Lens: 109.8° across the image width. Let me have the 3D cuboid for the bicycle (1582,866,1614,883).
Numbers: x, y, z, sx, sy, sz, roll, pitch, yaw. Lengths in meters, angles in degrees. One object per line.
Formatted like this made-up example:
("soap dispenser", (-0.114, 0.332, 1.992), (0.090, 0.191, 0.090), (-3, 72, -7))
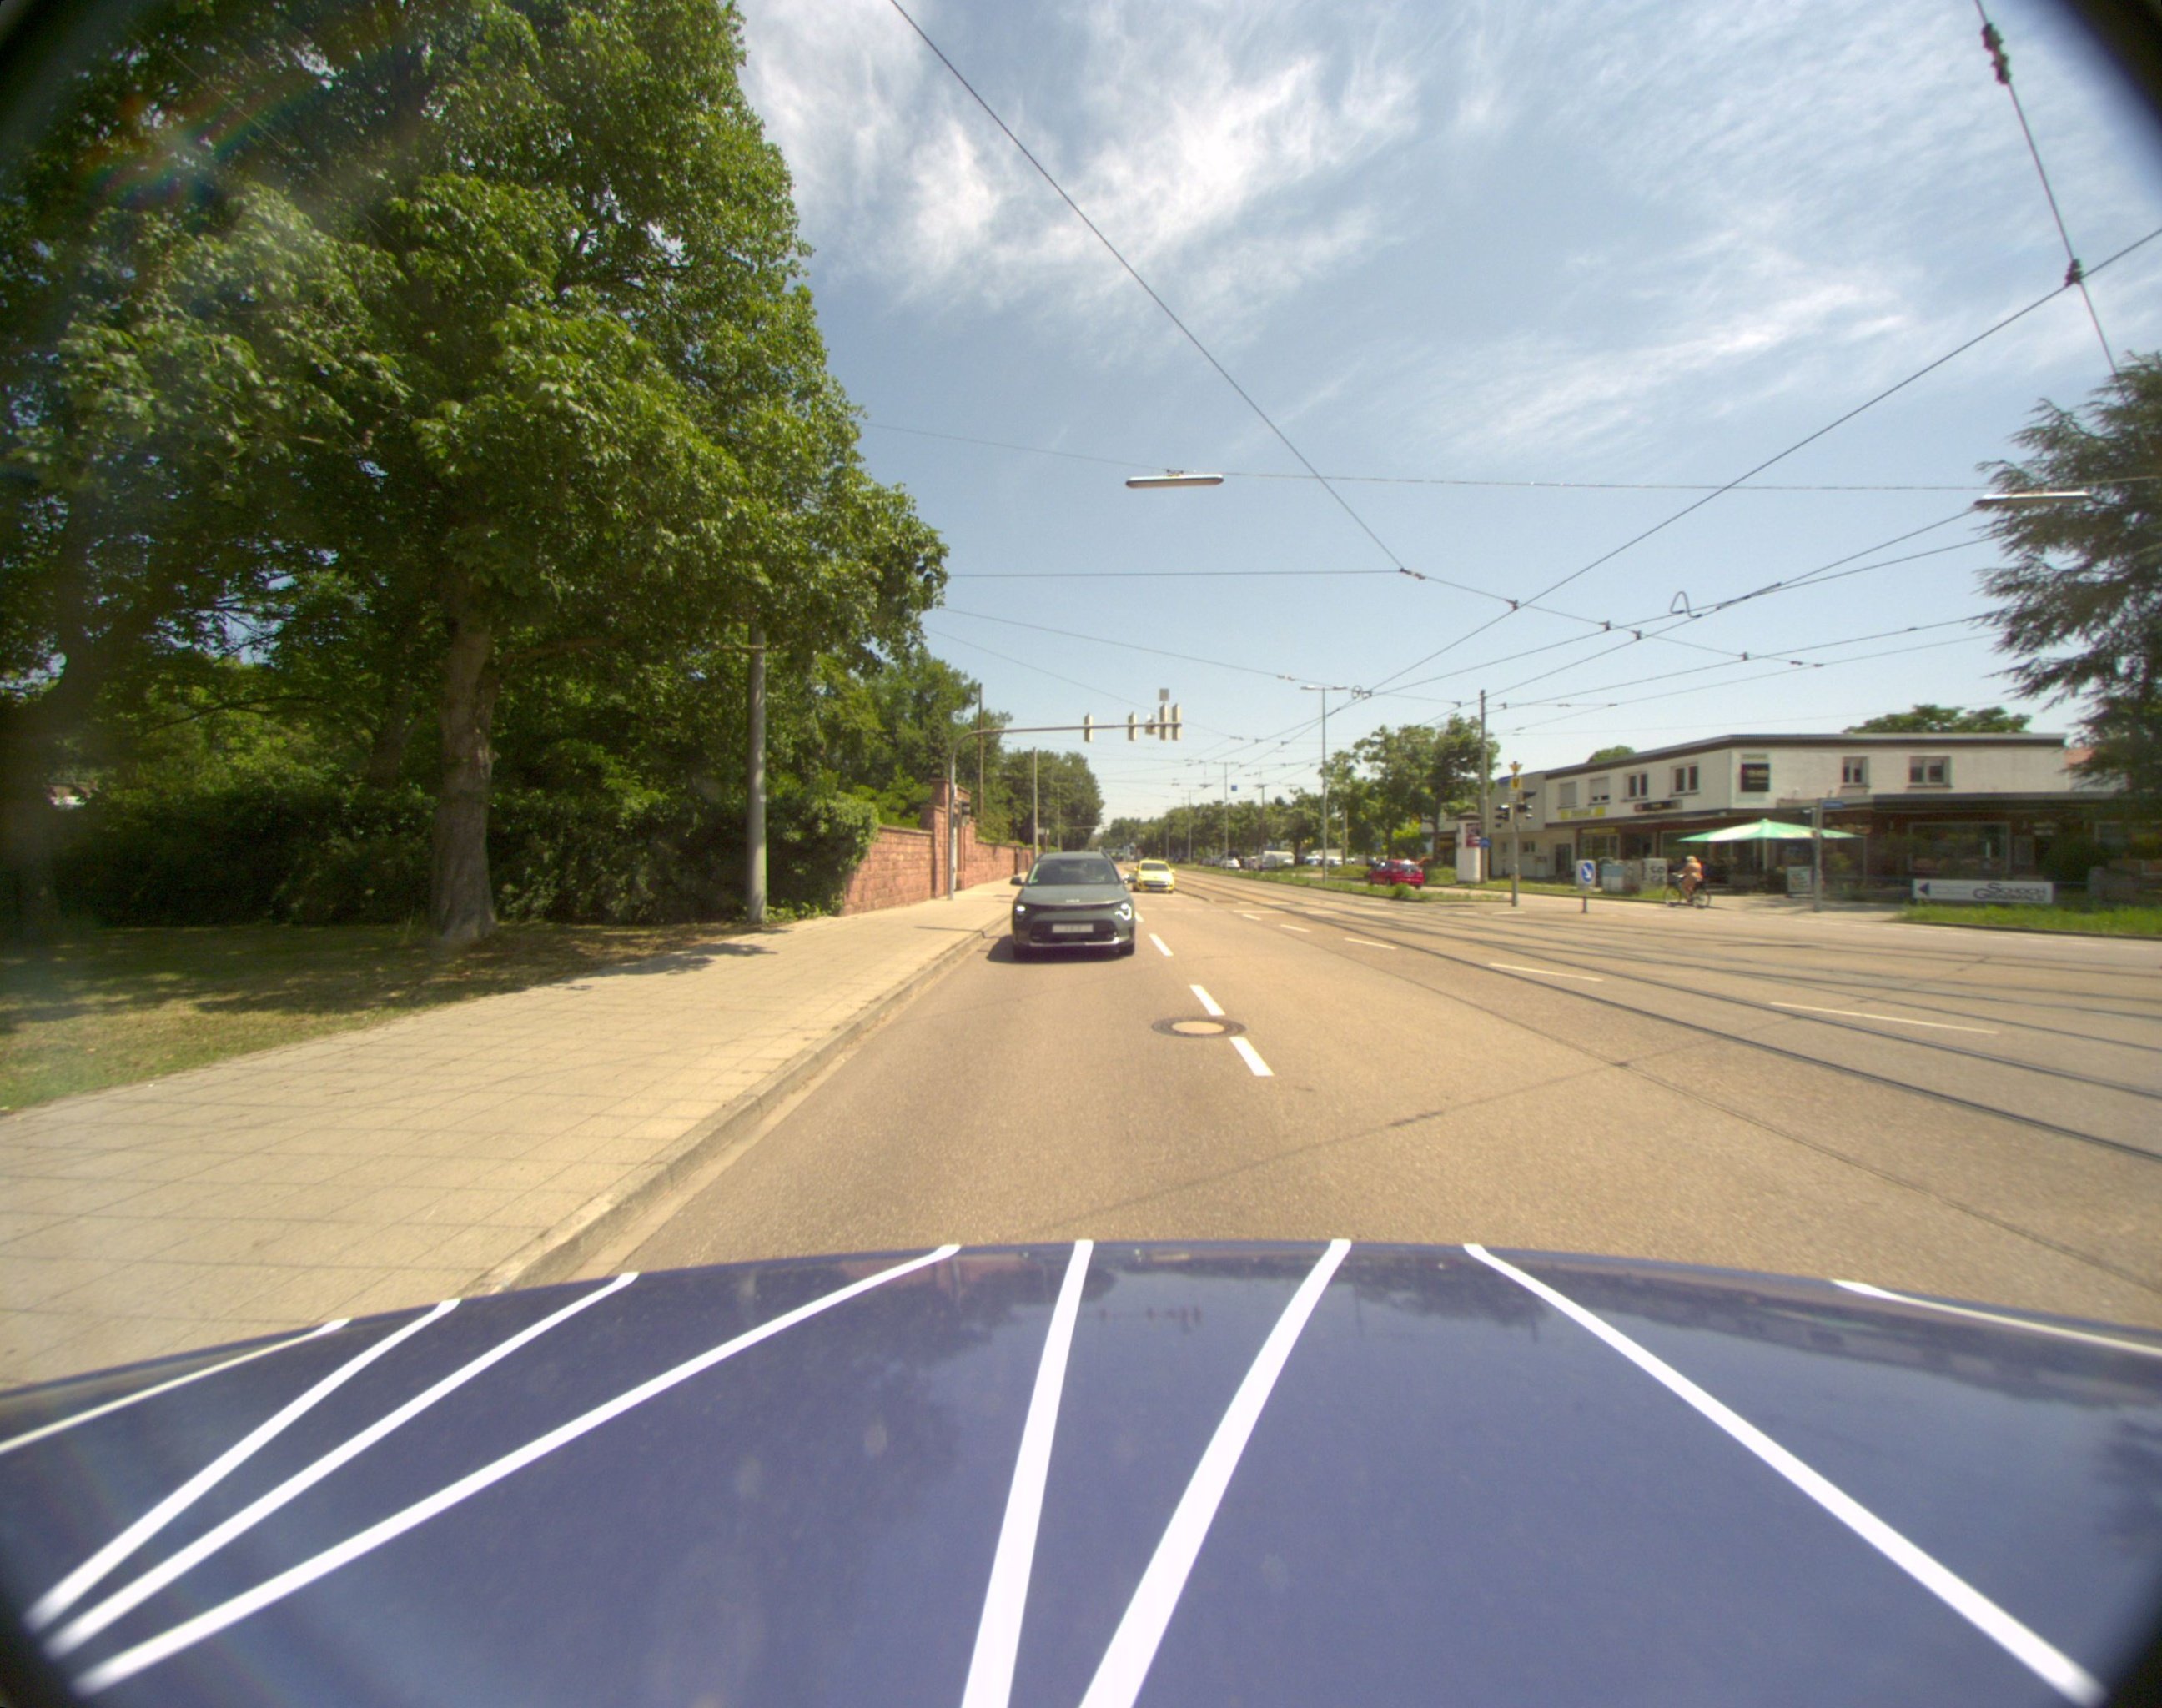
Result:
("bicycle", (28.596, 1.109, 42.043), (0.529, 0.843, 1.787), (-2, 0, 1))

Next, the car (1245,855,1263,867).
("car", (21.507, 0.856, 94.571), (1.674, 1.378, 3.569), (0, 0, 3))

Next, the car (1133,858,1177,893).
("car", (3.261, 0.941, 34.115), (1.620, 1.412, 3.656), (2, -1, 1))

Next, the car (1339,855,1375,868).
("car", (31.828, 0.903, 87.712), (3.414, 1.482, 1.793), (0, 0, -4))

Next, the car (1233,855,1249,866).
("car", (21.964, 0.862, 104.451), (1.674, 1.378, 3.670), (0, 0, 3))

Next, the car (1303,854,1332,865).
("car", (32.885, 0.732, 105.624), (3.414, 1.497, 1.603), (0, 0, -4))

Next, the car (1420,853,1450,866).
("car", (46.445, 0.716, 99.720), (3.355, 1.552, 1.506), (0, 0, -2))

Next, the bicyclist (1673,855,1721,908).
("bicyclist", (20.823, 0.929, 25.715), (0.696, 1.755, 1.137), (0, 0, 1))

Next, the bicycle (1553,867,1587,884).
("bicycle", (26.881, 1.165, 41.820), (0.603, 0.843, 1.959), (-2, 0, 1))

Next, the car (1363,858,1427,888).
("car", (16.627, 0.956, 40.417), (1.628, 1.475, 3.828), (0, 0, -3))

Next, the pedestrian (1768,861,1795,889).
("pedestrian", (29.151, 0.871, 31.634), (0.518, 1.121, 0.674), (0, 1, 1))

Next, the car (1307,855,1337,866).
("car", (31.684, 0.880, 100.084), (3.414, 1.385, 1.603), (0, 0, -4))

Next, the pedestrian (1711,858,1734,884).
("pedestrian", (30.341, 0.801, 35.927), (0.518, 1.202, 0.674), (0, 1, 1))

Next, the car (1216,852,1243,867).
("car", (16.422, 0.623, 84.118), (1.999, 1.543, 4.138), (2, 0, -3))

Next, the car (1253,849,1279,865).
("car", (21.377, 0.344, 88.125), (1.998, 1.872, 4.662), (0, 0, 1))

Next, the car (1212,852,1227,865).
("car", (22.649, 0.701, 124.066), (1.681, 1.963, 4.509), (0, 0, 1))

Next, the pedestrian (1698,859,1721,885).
("pedestrian", (29.689, 0.849, 35.902), (0.518, 1.192, 0.674), (0, 1, 1))

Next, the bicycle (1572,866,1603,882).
("bicycle", (28.015, 1.098, 42.057), (0.529, 0.843, 1.787), (-2, 0, 1))

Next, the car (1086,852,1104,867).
("car", (1.646, 0.639, 89.151), (1.998, 1.652, 4.000), (0, 0, 1))

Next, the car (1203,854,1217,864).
("car", (22.850, 0.830, 134.579), (1.681, 1.783, 4.203), (0, 0, 1))

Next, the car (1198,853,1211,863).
("car", (22.947, 0.756, 141.200), (1.681, 1.693, 3.823), (0, 0, 0))

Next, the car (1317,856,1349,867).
("car", (31.408, 0.927, 94.761), (3.414, 1.385, 1.603), (0, 0, -4))

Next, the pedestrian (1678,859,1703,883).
("pedestrian", (29.689, 0.828, 37.032), (0.566, 1.121, 0.810), (0, 1, 1))

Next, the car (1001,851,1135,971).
("car", (-0.117, 0.780, 12.517), (1.789, 1.561, 4.184), (-2, 1, 2))

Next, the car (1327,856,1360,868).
("car", (31.938, 0.963, 92.492), (3.414, 1.385, 1.603), (0, 0, -4))

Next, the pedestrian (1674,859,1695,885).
("pedestrian", (28.984, 0.868, 36.497), (0.576, 1.231, 0.491), (0, 1, 1))

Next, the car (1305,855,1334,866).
("car", (32.259, 0.867, 102.971), (3.414, 1.385, 1.603), (0, 0, -4))

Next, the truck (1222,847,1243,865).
("truck", (22.043, 0.320, 110.727), (2.225, 2.526, 4.929), (0, 0, 2))

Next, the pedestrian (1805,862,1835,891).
("pedestrian", (29.128, 0.885, 29.971), (0.518, 1.121, 0.674), (0, 1, 1))

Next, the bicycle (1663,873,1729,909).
("bicycle", (20.866, 1.239, 25.838), (0.696, 1.142, 1.932), (0, -1, 1))

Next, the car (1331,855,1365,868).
("car", (31.495, 0.912, 89.658), (3.414, 1.482, 1.598), (0, 0, -4))
